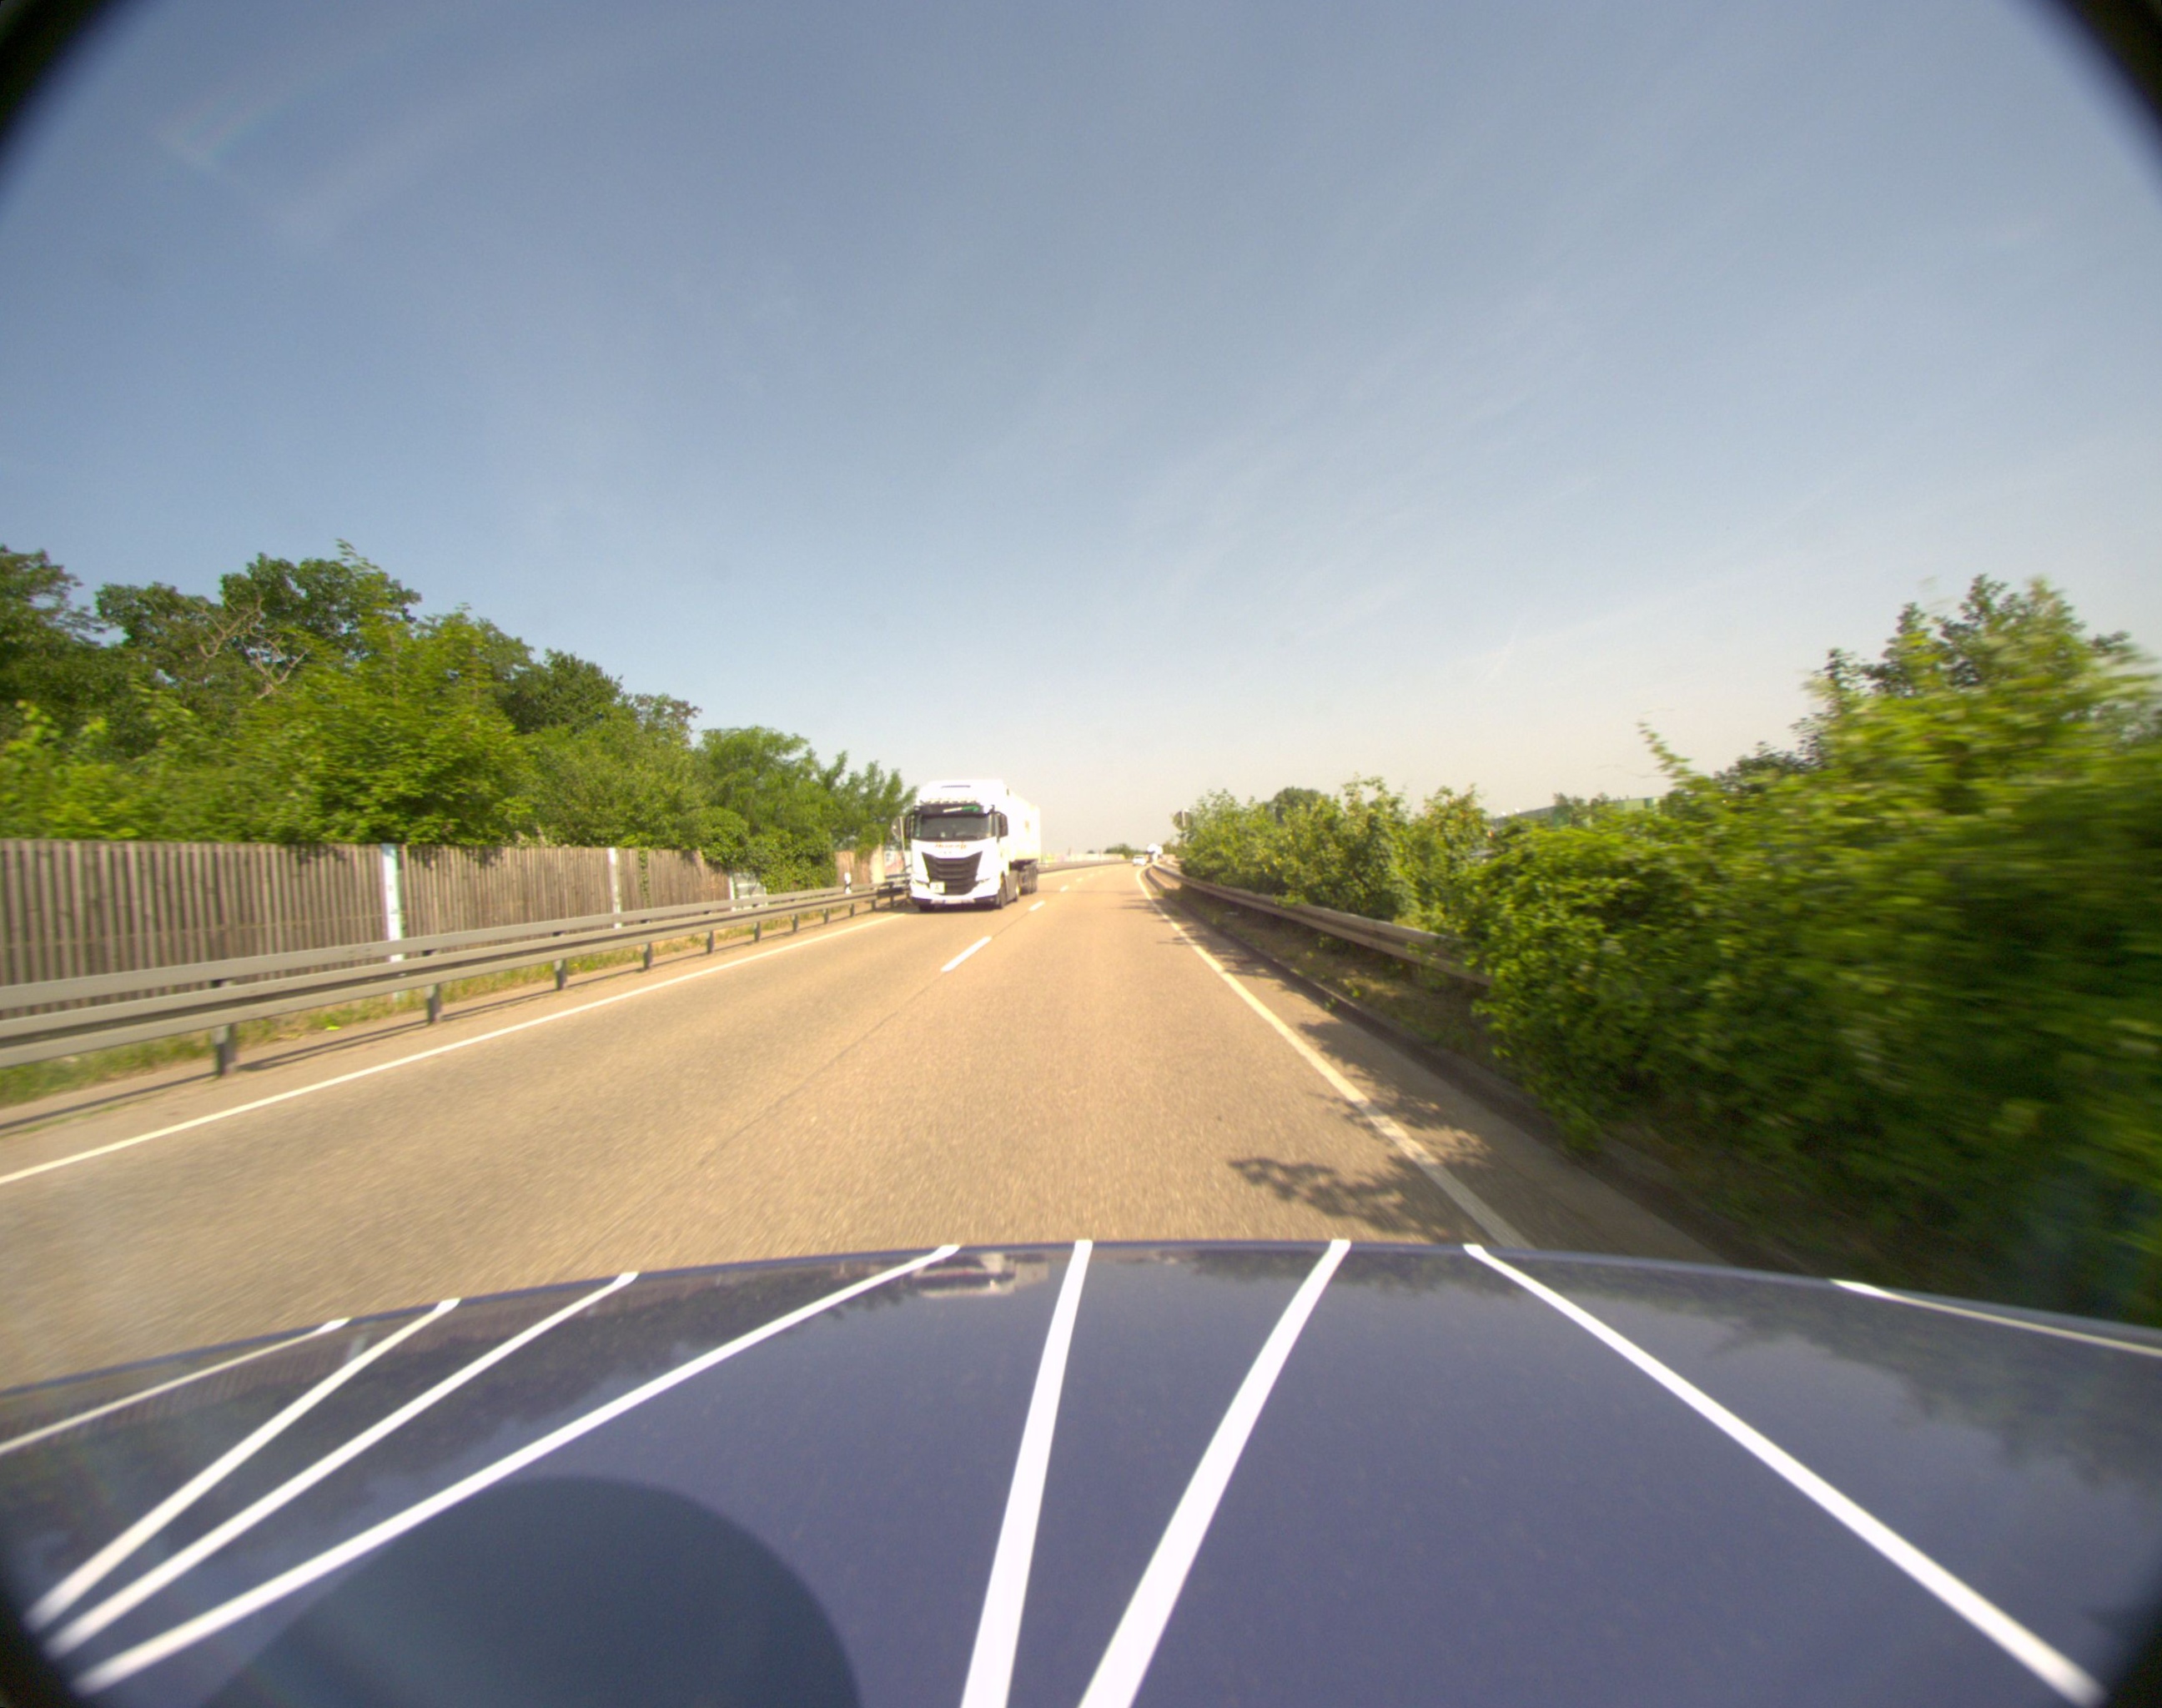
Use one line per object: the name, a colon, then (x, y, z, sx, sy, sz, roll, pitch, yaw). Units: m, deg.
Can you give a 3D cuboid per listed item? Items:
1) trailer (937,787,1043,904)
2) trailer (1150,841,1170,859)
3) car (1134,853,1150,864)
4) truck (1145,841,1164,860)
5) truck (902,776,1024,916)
trailer: (-3.321, -0.269, 30.546, 2.686, 3.884, 9.673, -2, 0, 2)
trailer: (18.146, -0.872, 174.140, 2.760, 3.968, 8.196, -2, 0, 18)
car: (8.614, 0.592, 107.437, 1.788, 1.427, 4.003, -3, 0, 10)
truck: (16.388, -0.770, 168.781, 2.775, 3.938, 5.634, -2, 1, 18)
truck: (-3.531, -0.239, 24.259, 2.665, 3.873, 5.648, -2, 1, 2)
